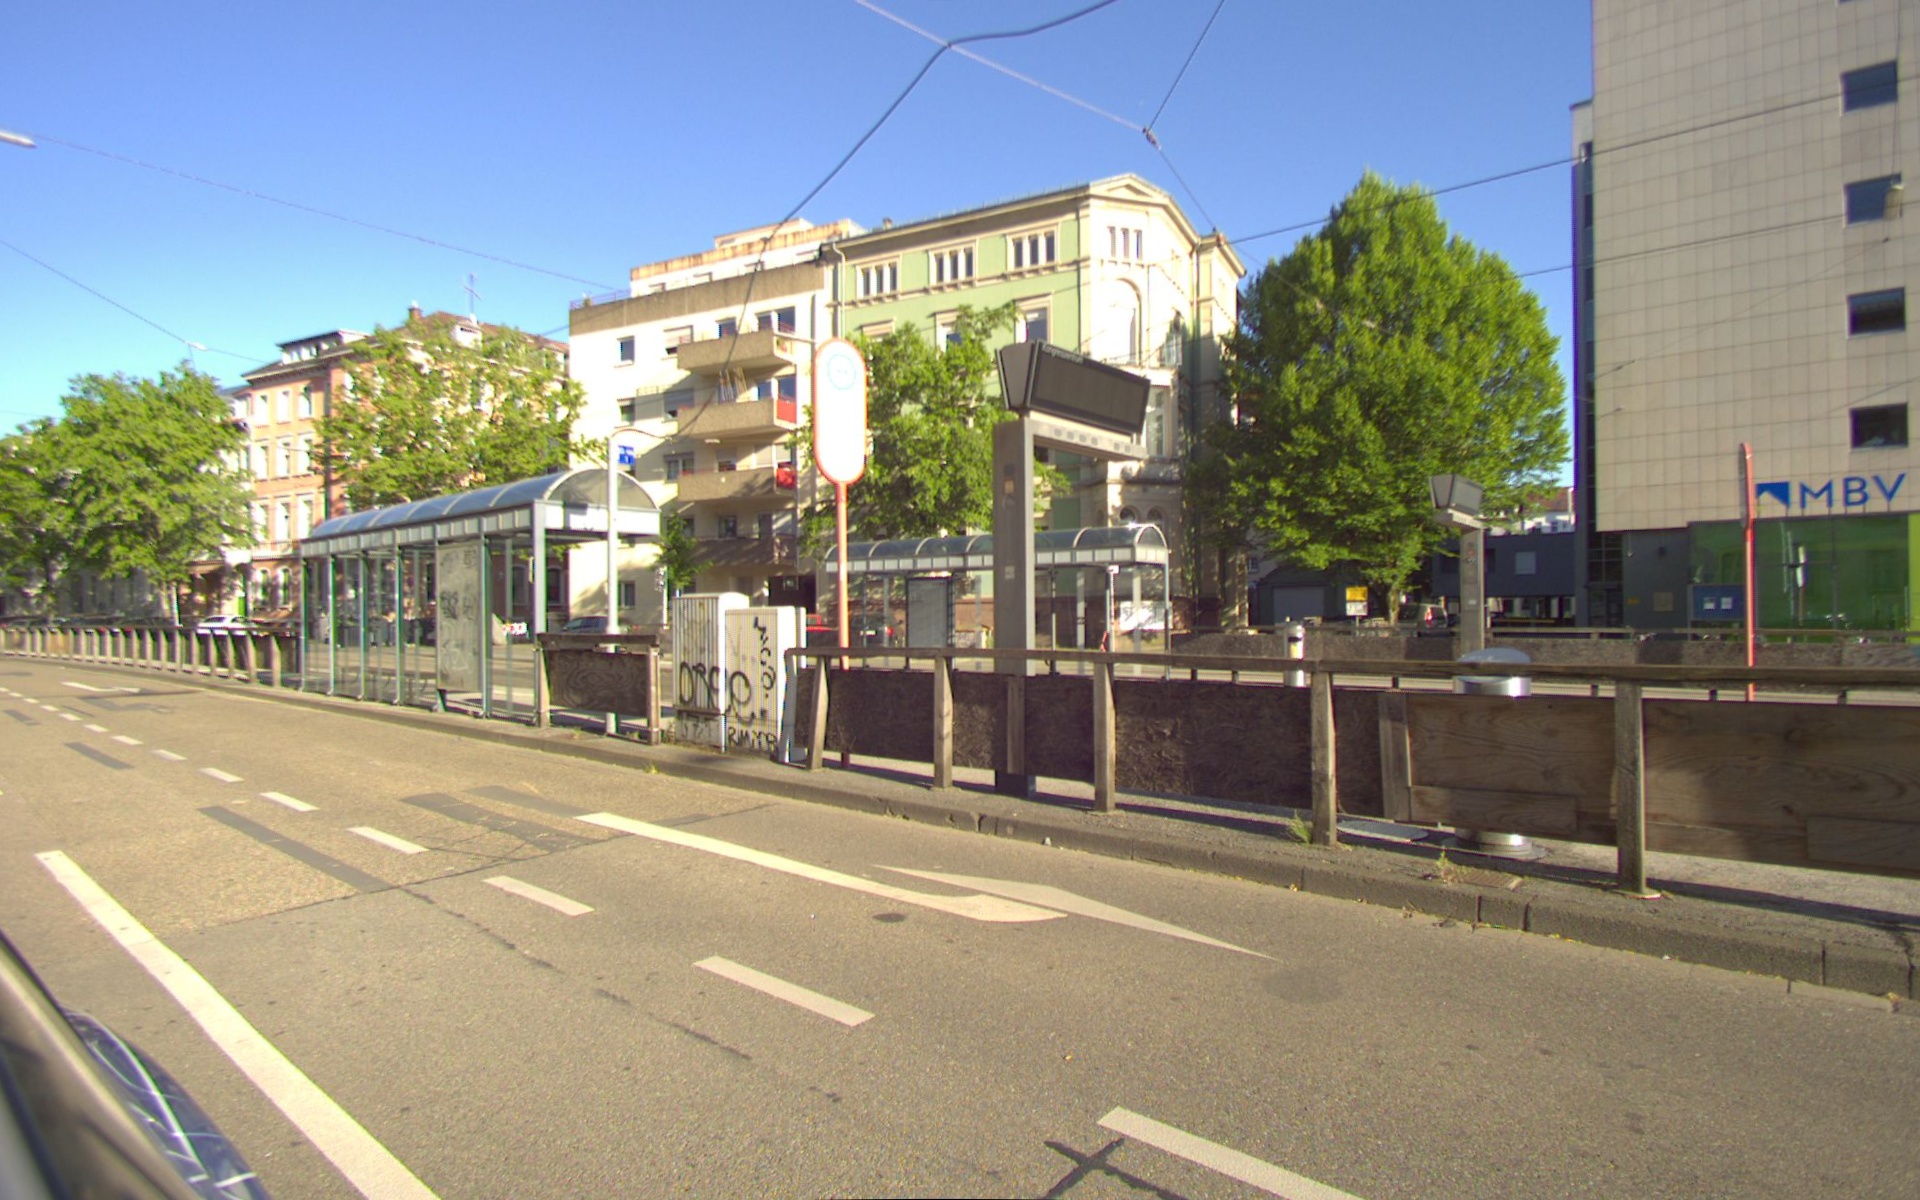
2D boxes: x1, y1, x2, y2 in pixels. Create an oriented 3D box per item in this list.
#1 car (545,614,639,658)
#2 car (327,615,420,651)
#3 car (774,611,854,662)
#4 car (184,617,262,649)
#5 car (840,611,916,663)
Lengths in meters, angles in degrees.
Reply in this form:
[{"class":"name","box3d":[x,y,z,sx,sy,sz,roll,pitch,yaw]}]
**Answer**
[{"class":"car","box3d":[-14.030,1.334,38.506,3.592,1.579,1.612,-1,0,35]},{"class":"car","box3d":[-28.396,1.560,49.042,1.626,1.579,3.560,-1,0,33]},{"class":"car","box3d":[-4.918,1.215,34.555,1.614,1.579,3.588,-1,0,11]},{"class":"car","box3d":[-39.396,1.741,54.199,1.607,1.579,3.601,-1,0,-2]},{"class":"car","box3d":[-2.645,1.186,33.359,1.614,1.579,3.588,-1,0,11]}]
